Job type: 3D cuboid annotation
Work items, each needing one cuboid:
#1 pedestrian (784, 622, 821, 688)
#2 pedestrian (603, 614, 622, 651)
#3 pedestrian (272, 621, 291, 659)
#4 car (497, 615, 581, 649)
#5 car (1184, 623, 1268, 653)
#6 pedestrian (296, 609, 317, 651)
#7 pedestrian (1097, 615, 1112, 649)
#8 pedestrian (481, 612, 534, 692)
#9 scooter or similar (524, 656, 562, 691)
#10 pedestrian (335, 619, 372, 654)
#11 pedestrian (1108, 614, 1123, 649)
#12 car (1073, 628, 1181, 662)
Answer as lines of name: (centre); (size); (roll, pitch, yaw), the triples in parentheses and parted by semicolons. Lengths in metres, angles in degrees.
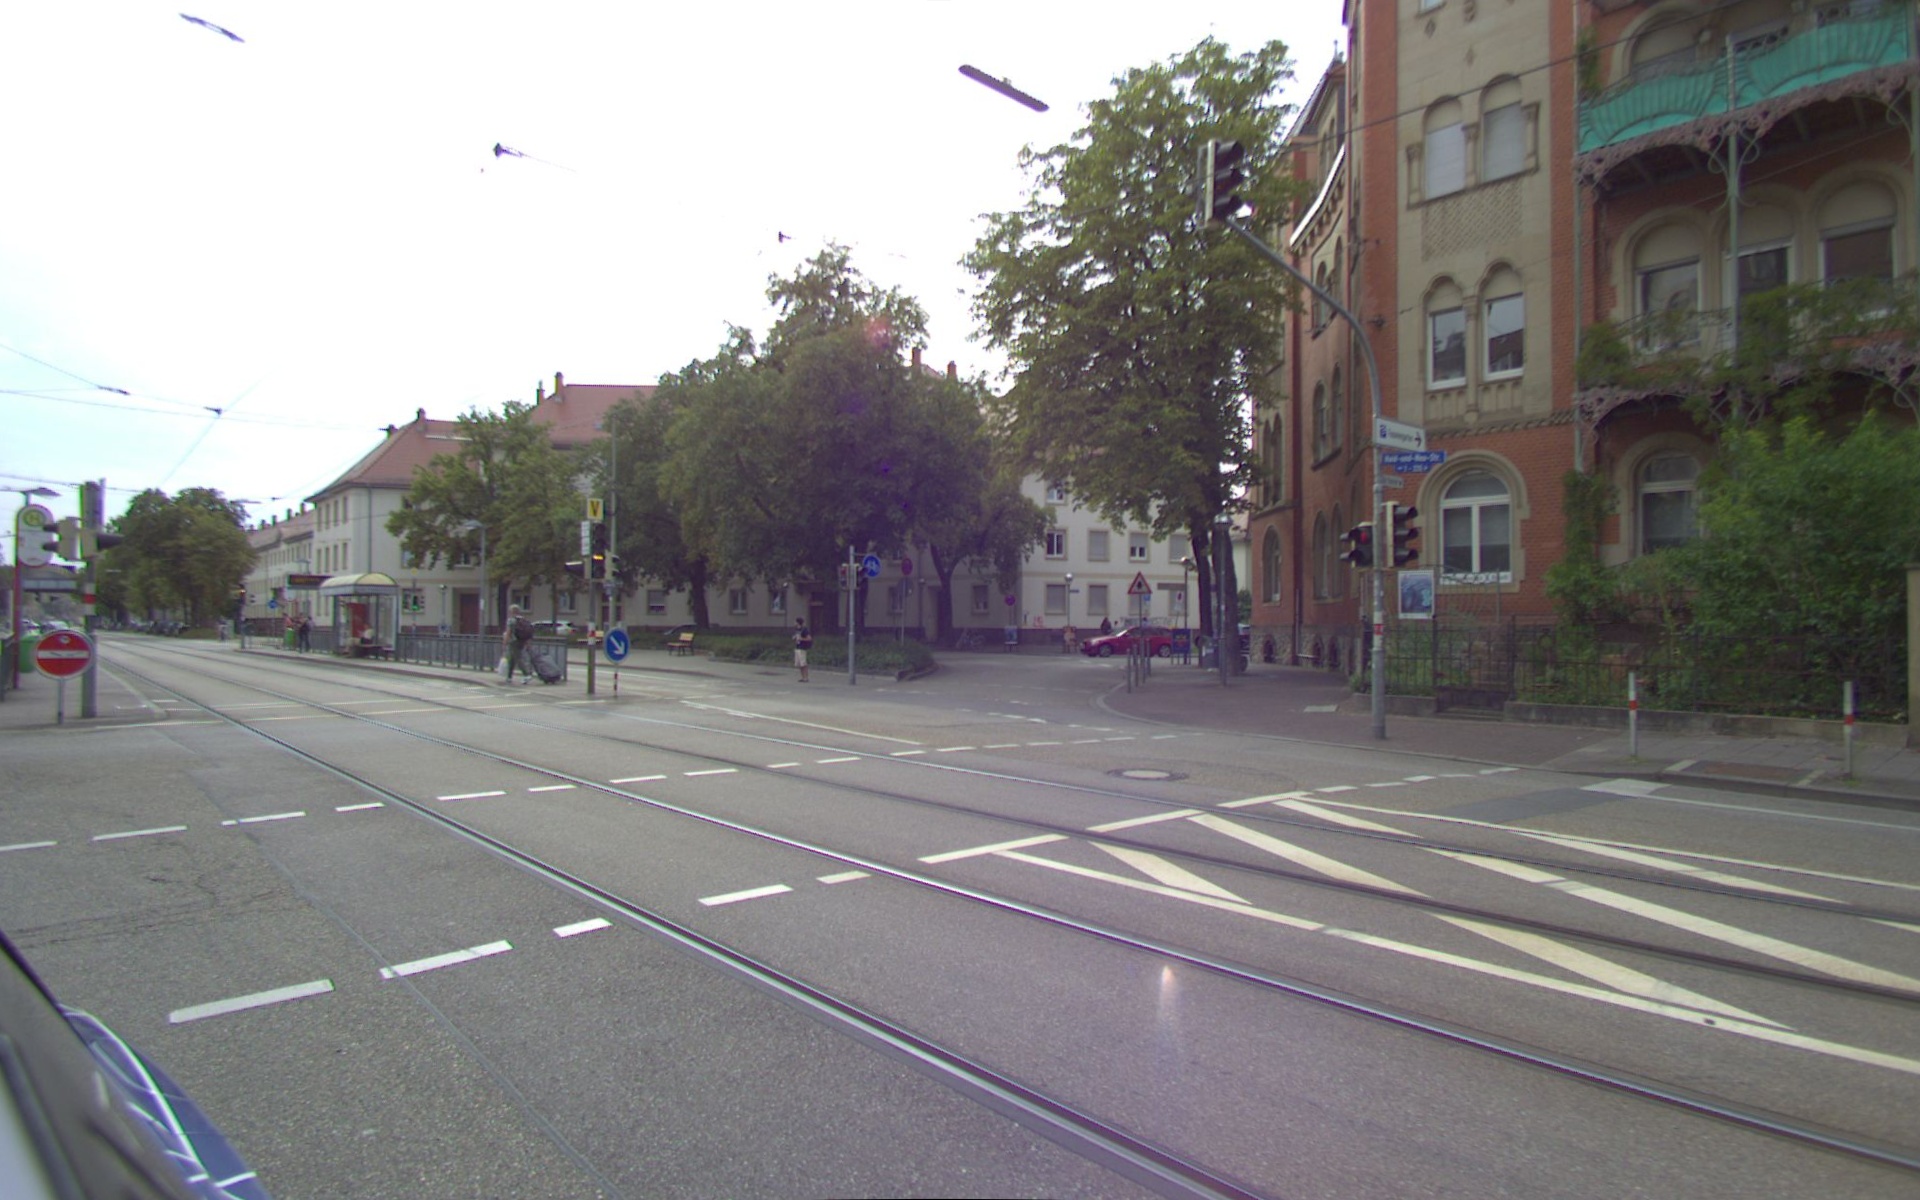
pedestrian: (-4.146, 1.428, 26.639); (0.712, 1.703, 0.645); (-1, -2, 43)
pedestrian: (-19.499, 1.800, 56.788); (0.851, 2.029, 0.765); (0, -1, -9)
pedestrian: (-33.269, 1.965, 49.607); (0.463, 1.848, 0.650); (-1, -1, 34)
car: (-24.256, 1.837, 58.450); (4.132, 1.879, 1.857); (0, -1, -8)
car: (13.272, 1.868, 50.731); (1.877, 1.415, 4.325); (1, -2, -22)
pedestrian: (-27.223, 1.248, 42.158); (0.619, 1.716, 0.580); (-1, -1, 43)
pedestrian: (7.718, 1.698, 53.975); (0.543, 1.840, 0.590); (0, -1, -23)
pedestrian: (-9.843, 1.124, 22.054); (0.806, 1.703, 0.683); (0, -2, 8)
scooter or similar: (-9.096, 1.598, 22.103); (0.660, 0.718, 0.605); (0, -2, -12)
pedestrian: (-21.808, 1.305, 36.381); (1.018, 1.246, 0.724); (0, -1, -45)
pedestrian: (8.359, 1.696, 54.300); (0.543, 1.840, 0.590); (0, -1, -23)
car: (7.190, 1.918, 43.737); (4.240, 1.415, 1.708); (1, -2, -12)
